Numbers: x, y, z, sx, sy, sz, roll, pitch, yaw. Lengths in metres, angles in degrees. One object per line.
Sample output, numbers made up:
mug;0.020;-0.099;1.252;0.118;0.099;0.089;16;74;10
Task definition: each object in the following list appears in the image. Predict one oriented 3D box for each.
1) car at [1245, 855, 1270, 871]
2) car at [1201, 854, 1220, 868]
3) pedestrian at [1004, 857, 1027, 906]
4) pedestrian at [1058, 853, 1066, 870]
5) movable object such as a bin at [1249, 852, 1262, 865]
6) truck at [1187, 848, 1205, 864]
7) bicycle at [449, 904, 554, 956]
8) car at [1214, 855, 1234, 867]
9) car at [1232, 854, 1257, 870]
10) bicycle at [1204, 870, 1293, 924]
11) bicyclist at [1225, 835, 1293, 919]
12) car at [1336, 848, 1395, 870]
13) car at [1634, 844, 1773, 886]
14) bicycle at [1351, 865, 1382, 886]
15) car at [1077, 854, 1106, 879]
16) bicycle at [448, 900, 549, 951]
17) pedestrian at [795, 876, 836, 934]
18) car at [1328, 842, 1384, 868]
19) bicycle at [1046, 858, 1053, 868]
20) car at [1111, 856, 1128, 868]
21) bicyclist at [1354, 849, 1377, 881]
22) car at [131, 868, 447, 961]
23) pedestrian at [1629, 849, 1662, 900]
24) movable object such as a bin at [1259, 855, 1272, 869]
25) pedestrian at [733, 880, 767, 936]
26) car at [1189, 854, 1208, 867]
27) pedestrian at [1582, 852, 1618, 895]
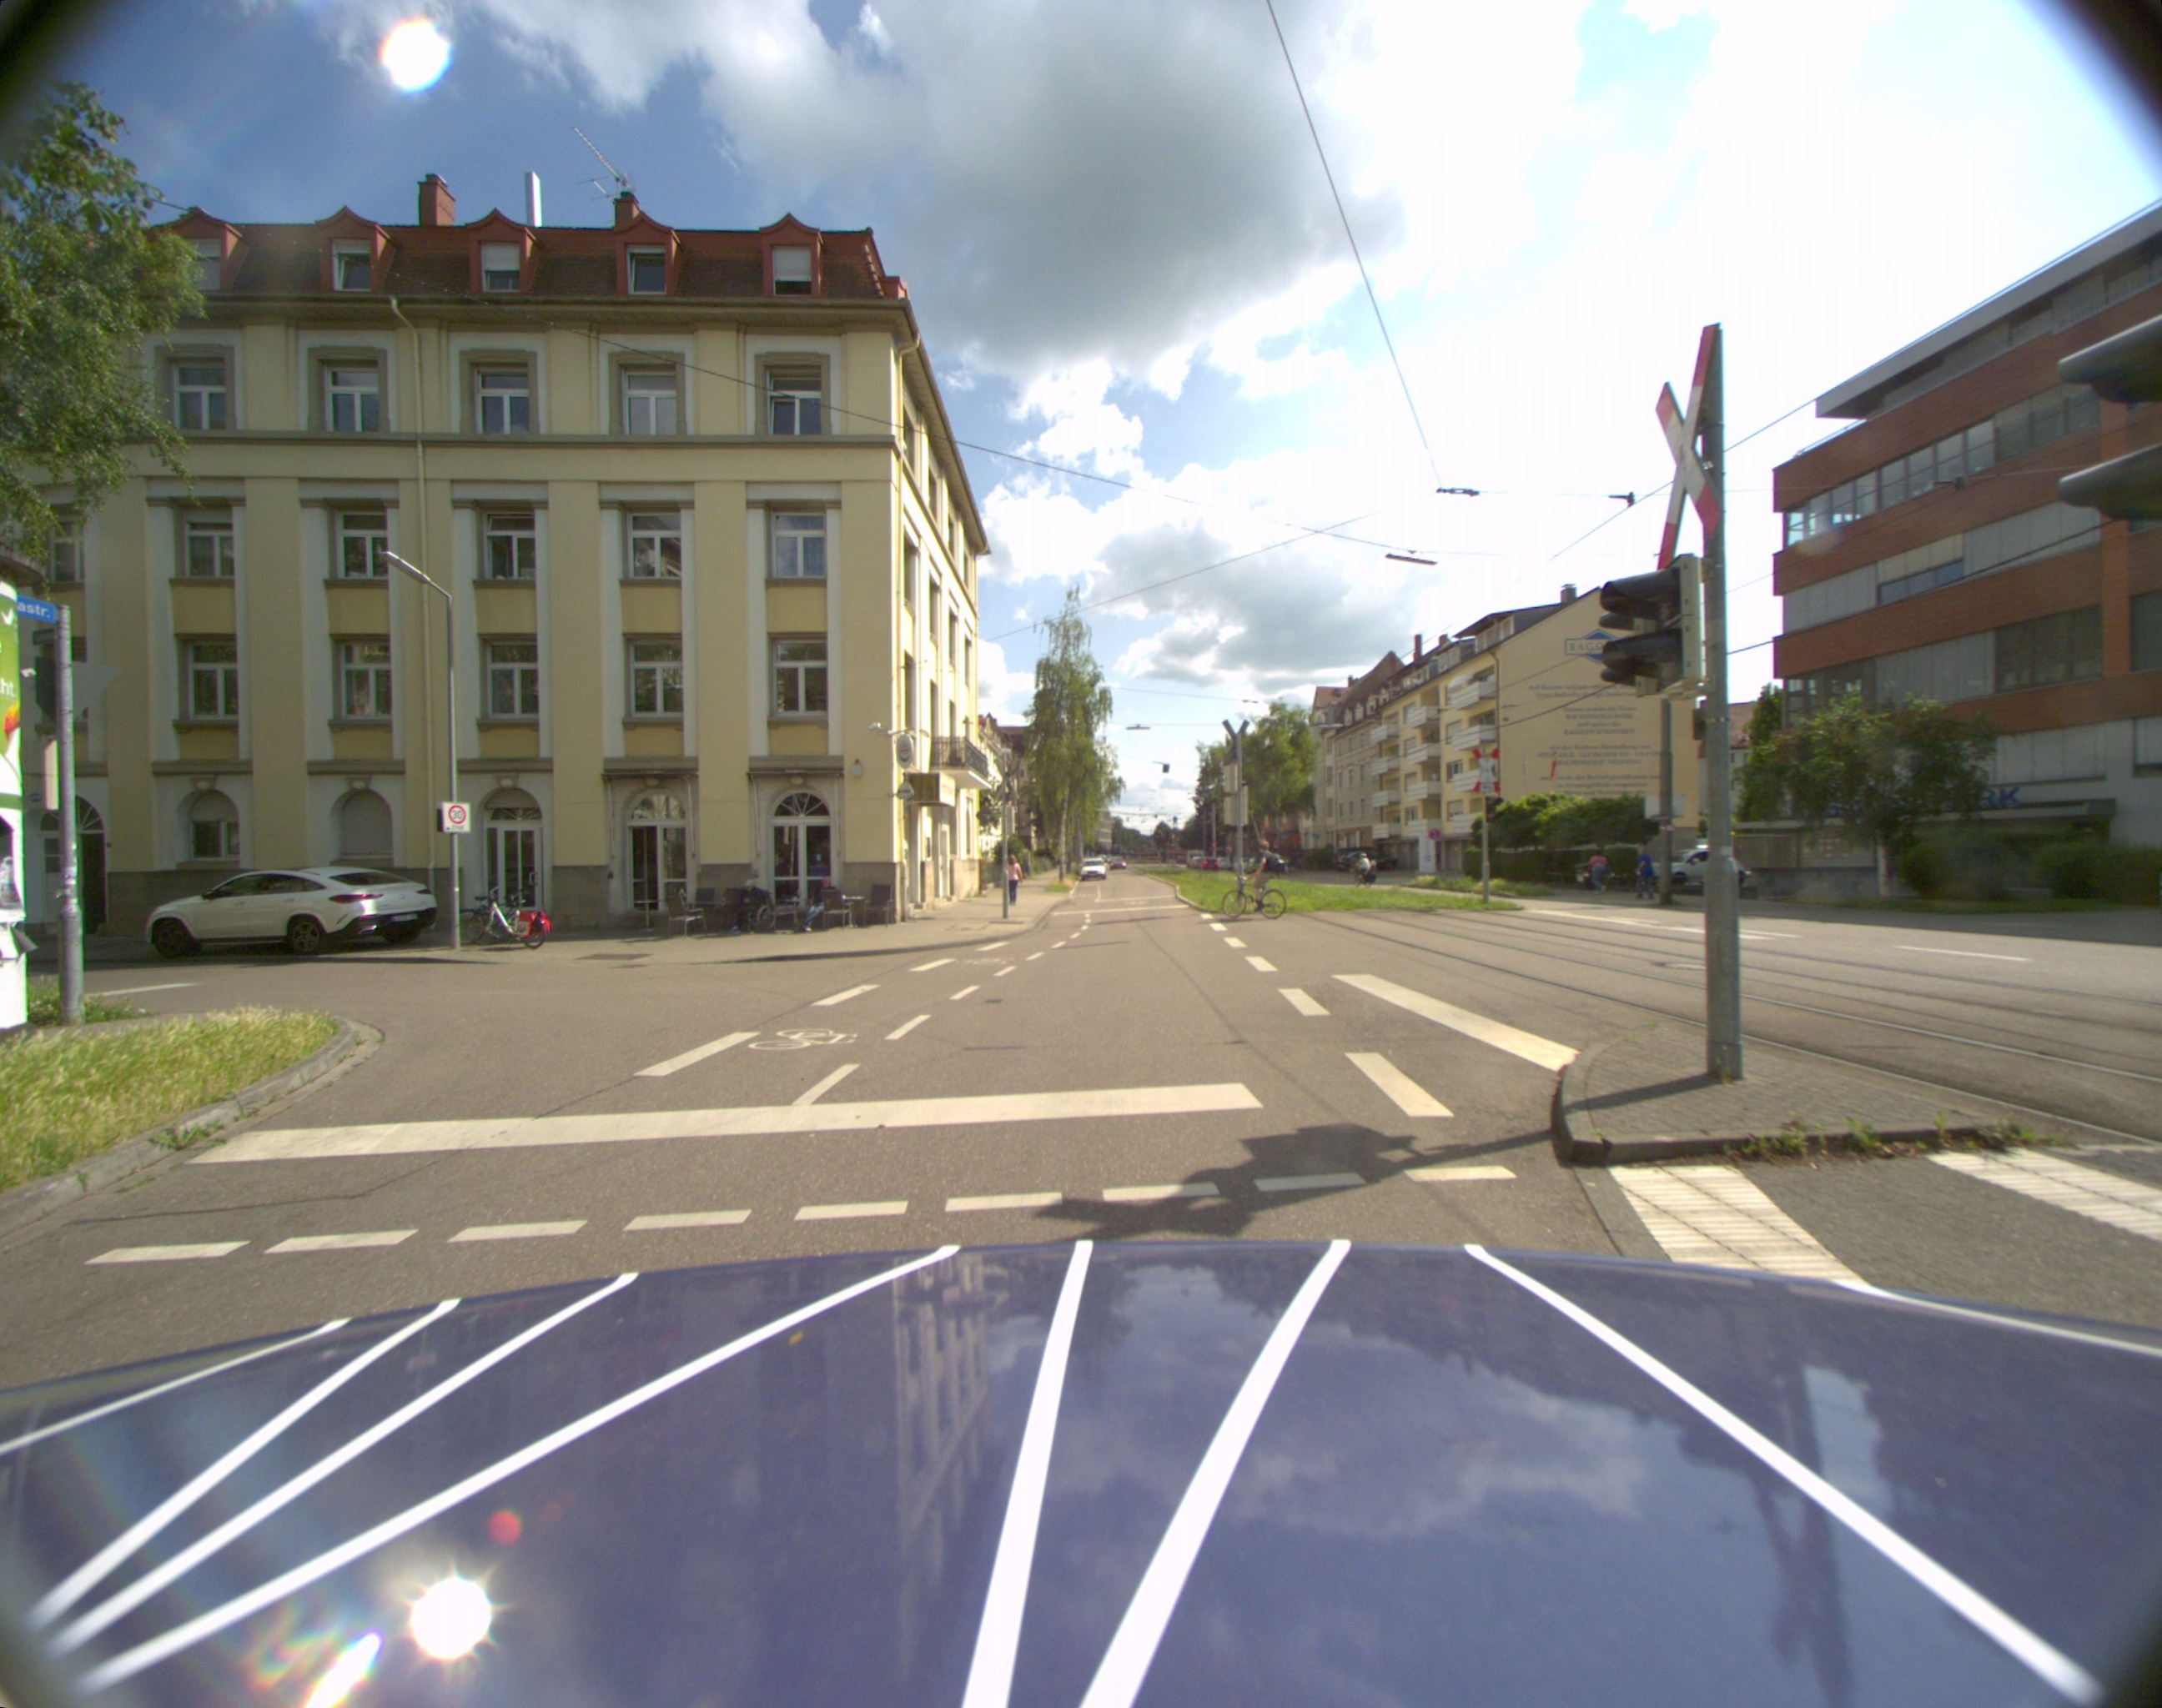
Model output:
car;16.355;0.846;70.440;1.598;1.423;3.615;0;0;2
car;13.878;0.740;81.717;1.582;1.378;3.693;0;0;2
pedestrian;-2.251;0.935;26.091;0.674;1.638;0.763;-1;0;-11
pedestrian;-1.908;0.763;77.960;0.731;1.673;0.691;1;1;4
movable object such as a bin;19.103;0.524;83.188;0.953;1.359;1.522;-6;0;1
truck;15.850;0.242;105.024;2.189;2.201;6.615;0;0;6
bicycle;-11.641;1.524;15.285;1.651;0.963;0.584;-1;2;2
car;16.723;0.768;88.957;1.759;1.348;3.995;0;0;3
car;16.239;0.787;75.725;1.648;1.469;4.226;1;0;2
bicycle;4.042;1.019;18.464;1.787;1.171;1.157;-2;1;-8
bicyclist;4.362;0.543;18.583;1.573;2.002;0.952;0;1;16
car;22.987;0.374;61.468;3.996;1.593;1.973;-2;0;1
car;25.023;0.440;30.653;3.998;1.586;2.000;-1;0;-2
bicycle;14.043;1.034;37.376;0.682;0.965;2.178;0;0;-1
car;0.800;0.835;53.001;1.725;1.620;4.001;-3;0;4
bicycle;-12.141;1.483;15.850;1.651;0.963;0.584;0;3;2
pedestrian;-6.460;1.222;18.535;0.536;1.261;1.303;-2;2;-2
car;23.208;0.066;64.173;3.995;2.002;1.937;-3;0;5
bicycle;-3.322;0.919;80.567;0.472;1.071;2.183;0;0;3
car;4.571;0.918;89.691;1.740;1.313;4.001;-2;0;5
bicyclist;13.987;0.532;37.368;0.787;1.572;0.863;0;1;-1
car;-16.141;1.192;15.628;4.768;1.723;1.914;-1;0;5
pedestrian;18.565;0.666;25.014;0.558;1.647;0.747;0;1;4
movable object such as a bin;18.630;0.815;76.681;0.953;1.421;1.522;-3;0;1
pedestrian;-7.808;1.267;17.943;0.536;1.261;0.661;0;1;-2
car;13.792;0.734;89.120;1.759;1.348;4.512;1;1;3
pedestrian;19.466;0.728;28.506;0.747;1.564;0.889;-1;1;4
